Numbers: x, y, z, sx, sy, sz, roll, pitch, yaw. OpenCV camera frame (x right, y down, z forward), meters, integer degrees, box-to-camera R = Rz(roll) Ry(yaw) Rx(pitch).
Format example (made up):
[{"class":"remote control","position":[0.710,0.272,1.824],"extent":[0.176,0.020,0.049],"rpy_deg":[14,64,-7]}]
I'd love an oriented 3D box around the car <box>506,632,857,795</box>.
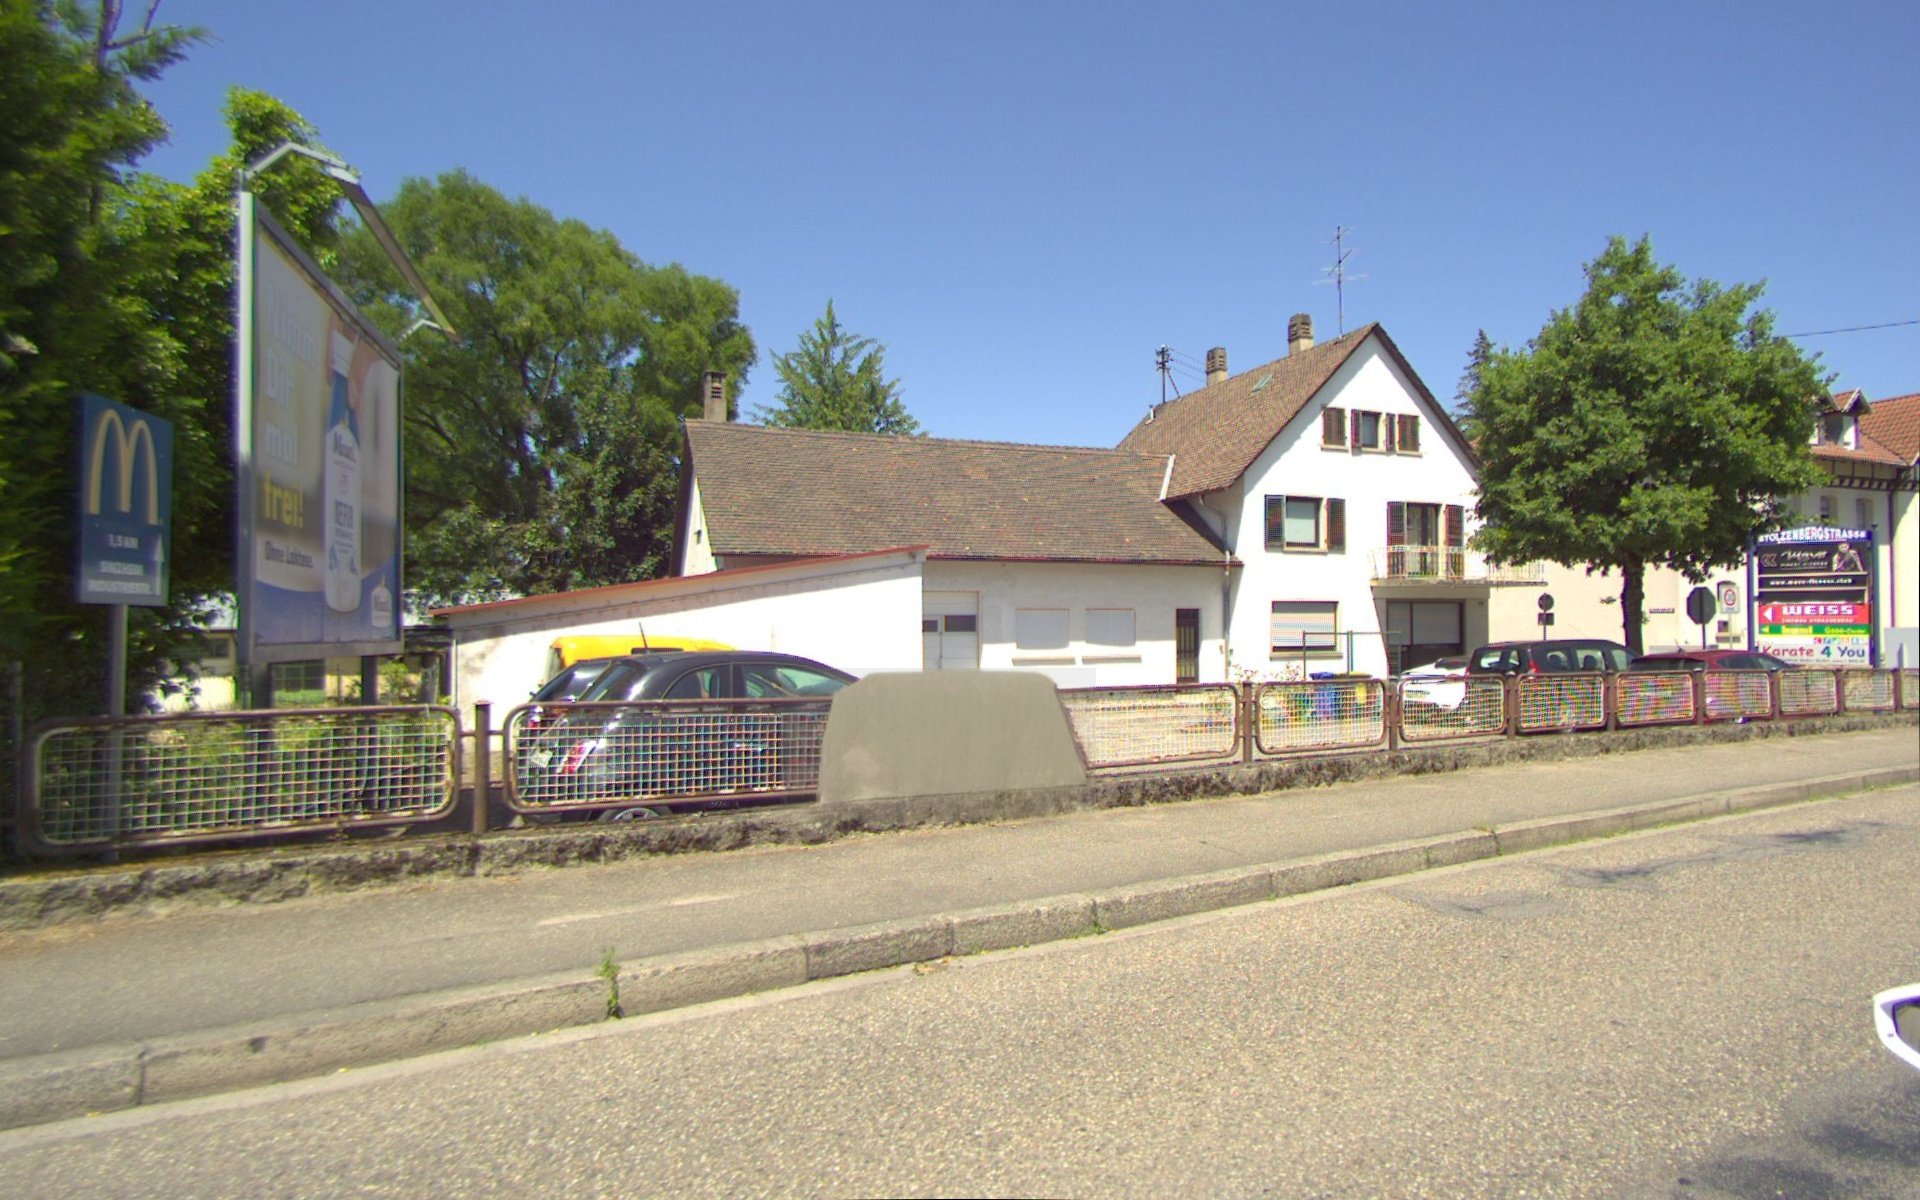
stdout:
[{"class":"car","position":[-3.473,1.344,12.701],"extent":[3.954,1.765,1.786],"rpy_deg":[2,-4,-31]}]

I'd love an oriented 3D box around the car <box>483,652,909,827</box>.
[{"class":"car","position":[-2.684,1.331,10.445],"extent":[3.942,1.538,1.791],"rpy_deg":[2,-3,-22]}]

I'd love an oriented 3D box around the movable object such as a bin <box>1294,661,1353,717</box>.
[{"class":"movable object such as a bin","position":[8.191,1.991,22.657],"extent":[0.889,1.227,0.885],"rpy_deg":[0,-3,-17]}]

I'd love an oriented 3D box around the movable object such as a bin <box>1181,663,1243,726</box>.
[{"class":"movable object such as a bin","position":[5.147,1.908,20.531],"extent":[0.889,1.227,0.885],"rpy_deg":[0,-3,-17]}]

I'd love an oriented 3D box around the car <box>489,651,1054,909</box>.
[{"class":"car","position":[-1.391,1.188,7.808],"extent":[3.954,1.538,1.786],"rpy_deg":[2,-4,-31]}]

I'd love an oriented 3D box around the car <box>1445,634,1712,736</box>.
[{"class":"car","position":[11.527,1.517,18.728],"extent":[4.554,1.700,1.792],"rpy_deg":[0,-3,-21]}]

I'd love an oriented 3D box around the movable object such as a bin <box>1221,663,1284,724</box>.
[{"class":"movable object such as a bin","position":[6.057,1.921,20.845],"extent":[0.889,1.227,0.885],"rpy_deg":[0,-3,-17]}]

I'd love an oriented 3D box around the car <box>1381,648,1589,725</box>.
[{"class":"car","position":[11.011,1.752,21.091],"extent":[3.944,1.452,1.790],"rpy_deg":[1,-3,-24]}]

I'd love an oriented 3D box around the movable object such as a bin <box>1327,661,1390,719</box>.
[{"class":"movable object such as a bin","position":[8.644,1.936,21.805],"extent":[0.889,1.227,0.885],"rpy_deg":[0,-3,-17]}]

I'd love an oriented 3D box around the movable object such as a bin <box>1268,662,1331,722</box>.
[{"class":"movable object such as a bin","position":[7.183,1.933,21.275],"extent":[0.889,1.227,0.885],"rpy_deg":[0,-3,-17]}]

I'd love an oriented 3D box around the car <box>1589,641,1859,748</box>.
[{"class":"car","position":[12.422,1.466,16.342],"extent":[3.944,1.538,1.790],"rpy_deg":[1,-3,-24]}]
